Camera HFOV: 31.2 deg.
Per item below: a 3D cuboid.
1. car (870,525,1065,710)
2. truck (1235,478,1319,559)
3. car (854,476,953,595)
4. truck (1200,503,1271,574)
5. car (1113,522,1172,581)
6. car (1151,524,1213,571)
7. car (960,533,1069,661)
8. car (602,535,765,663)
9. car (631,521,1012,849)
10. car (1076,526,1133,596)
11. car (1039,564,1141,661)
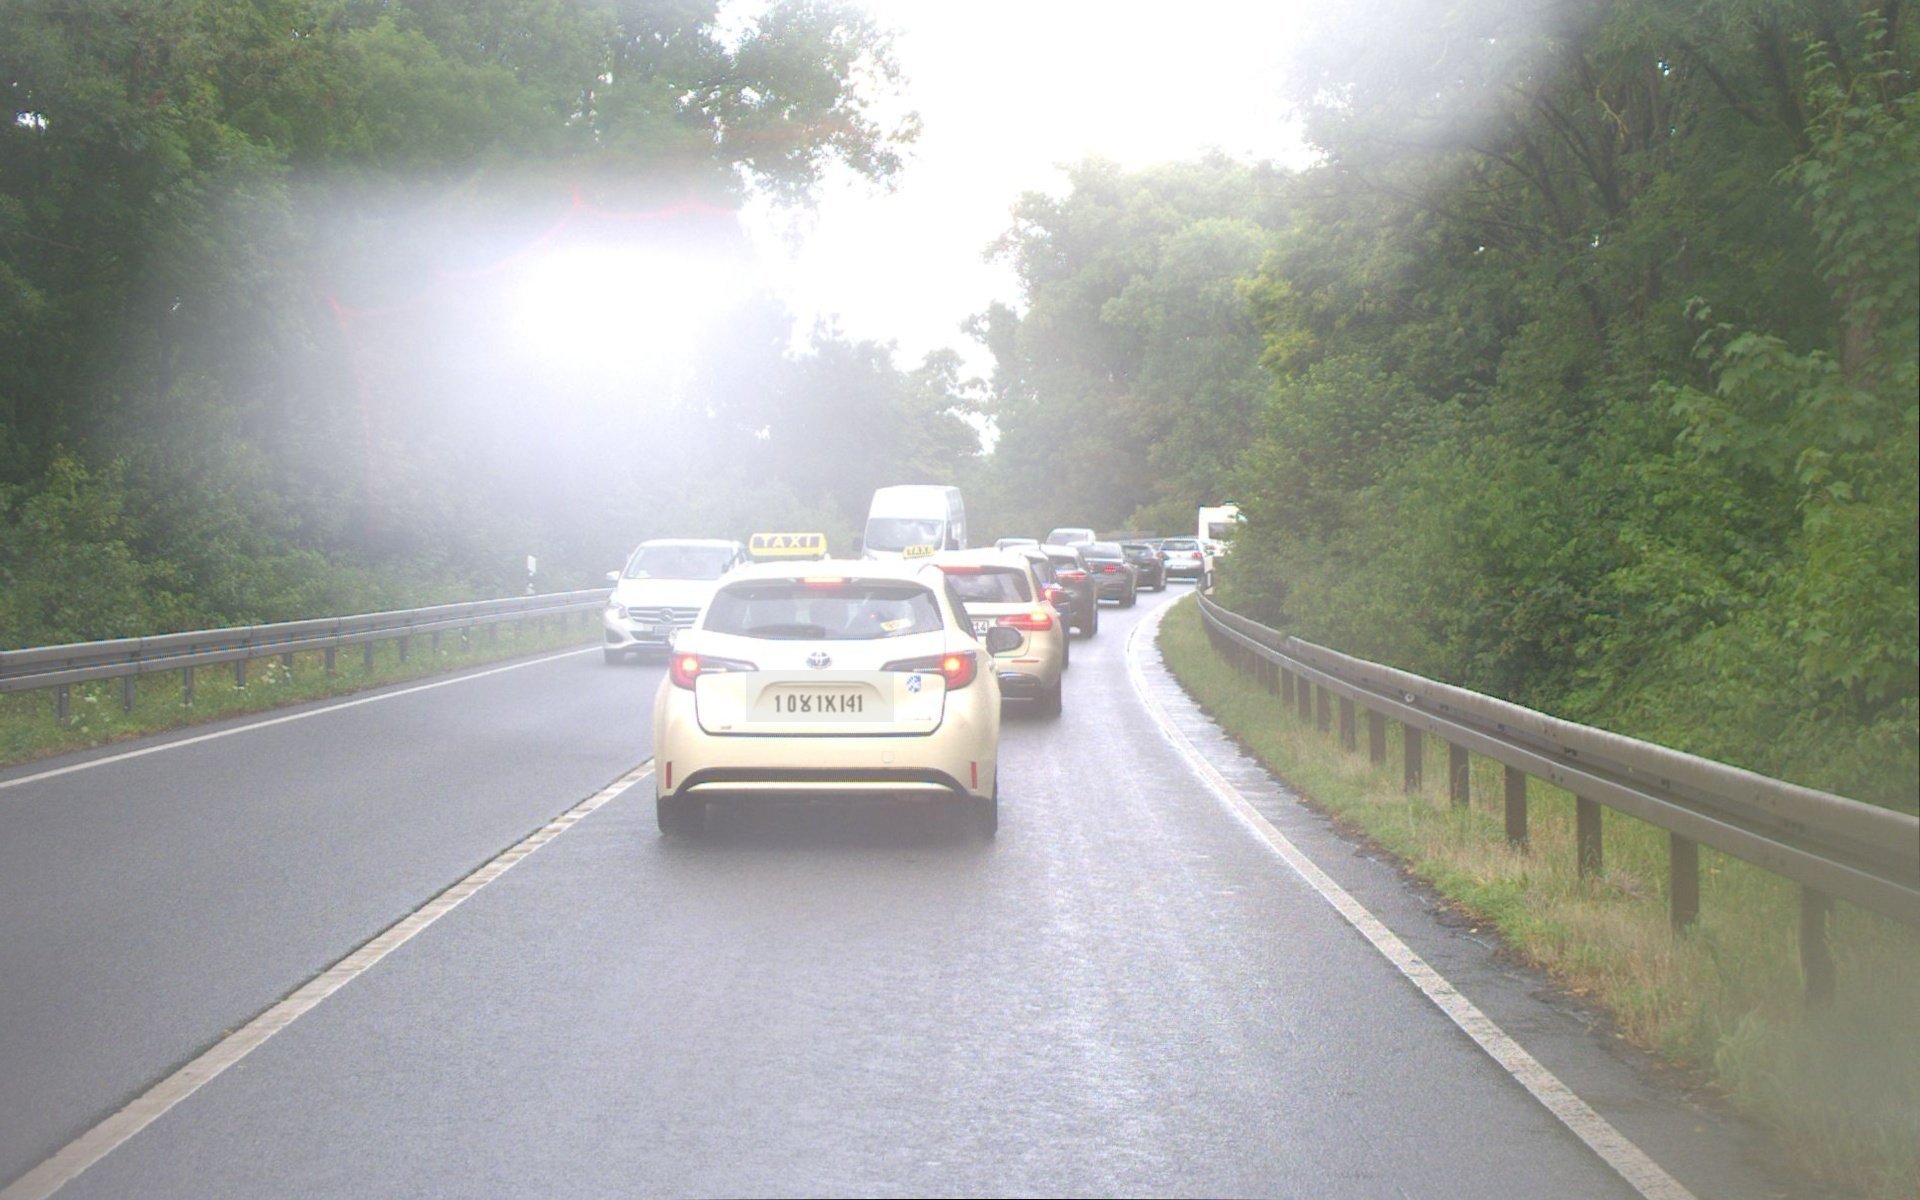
[{"bbox_3d":[0.076,0.138,31.671,1.667,1.575,3.892,1,0,0],"label":"car"},{"bbox_3d":[15.179,-3.851,164.229,3.109,3.668,6.996,1,0,12],"label":"truck"},{"bbox_3d":[-1.282,-1.467,80.452,2.048,2.667,6.171,0,0,2],"label":"car"},{"bbox_3d":[10.998,-2.431,137.737,2.550,2.704,7.534,1,0,3],"label":"truck"},{"bbox_3d":[5.121,-1.343,96.334,1.616,1.607,3.621,1,0,3],"label":"car"},{"bbox_3d":[7.460,-1.749,115.296,1.770,1.541,3.813,1,0,8],"label":"car"},{"bbox_3d":[0.687,-0.050,43.458,1.300,1.541,3.260,1,0,1],"label":"car"},{"bbox_3d":[-3.529,-0.051,44.560,1.691,1.550,4.442,1,1,1],"label":"car"},{"bbox_3d":[-0.666,0.402,18.835,1.834,1.575,4.157,1,0,0],"label":"car"},{"bbox_3d":[3.278,-0.870,77.623,1.167,1.541,2.603,1,0,5],"label":"car"},{"bbox_3d":[2.125,0.197,56.728,1.611,1.541,3.814,0,0,2],"label":"car"}]
